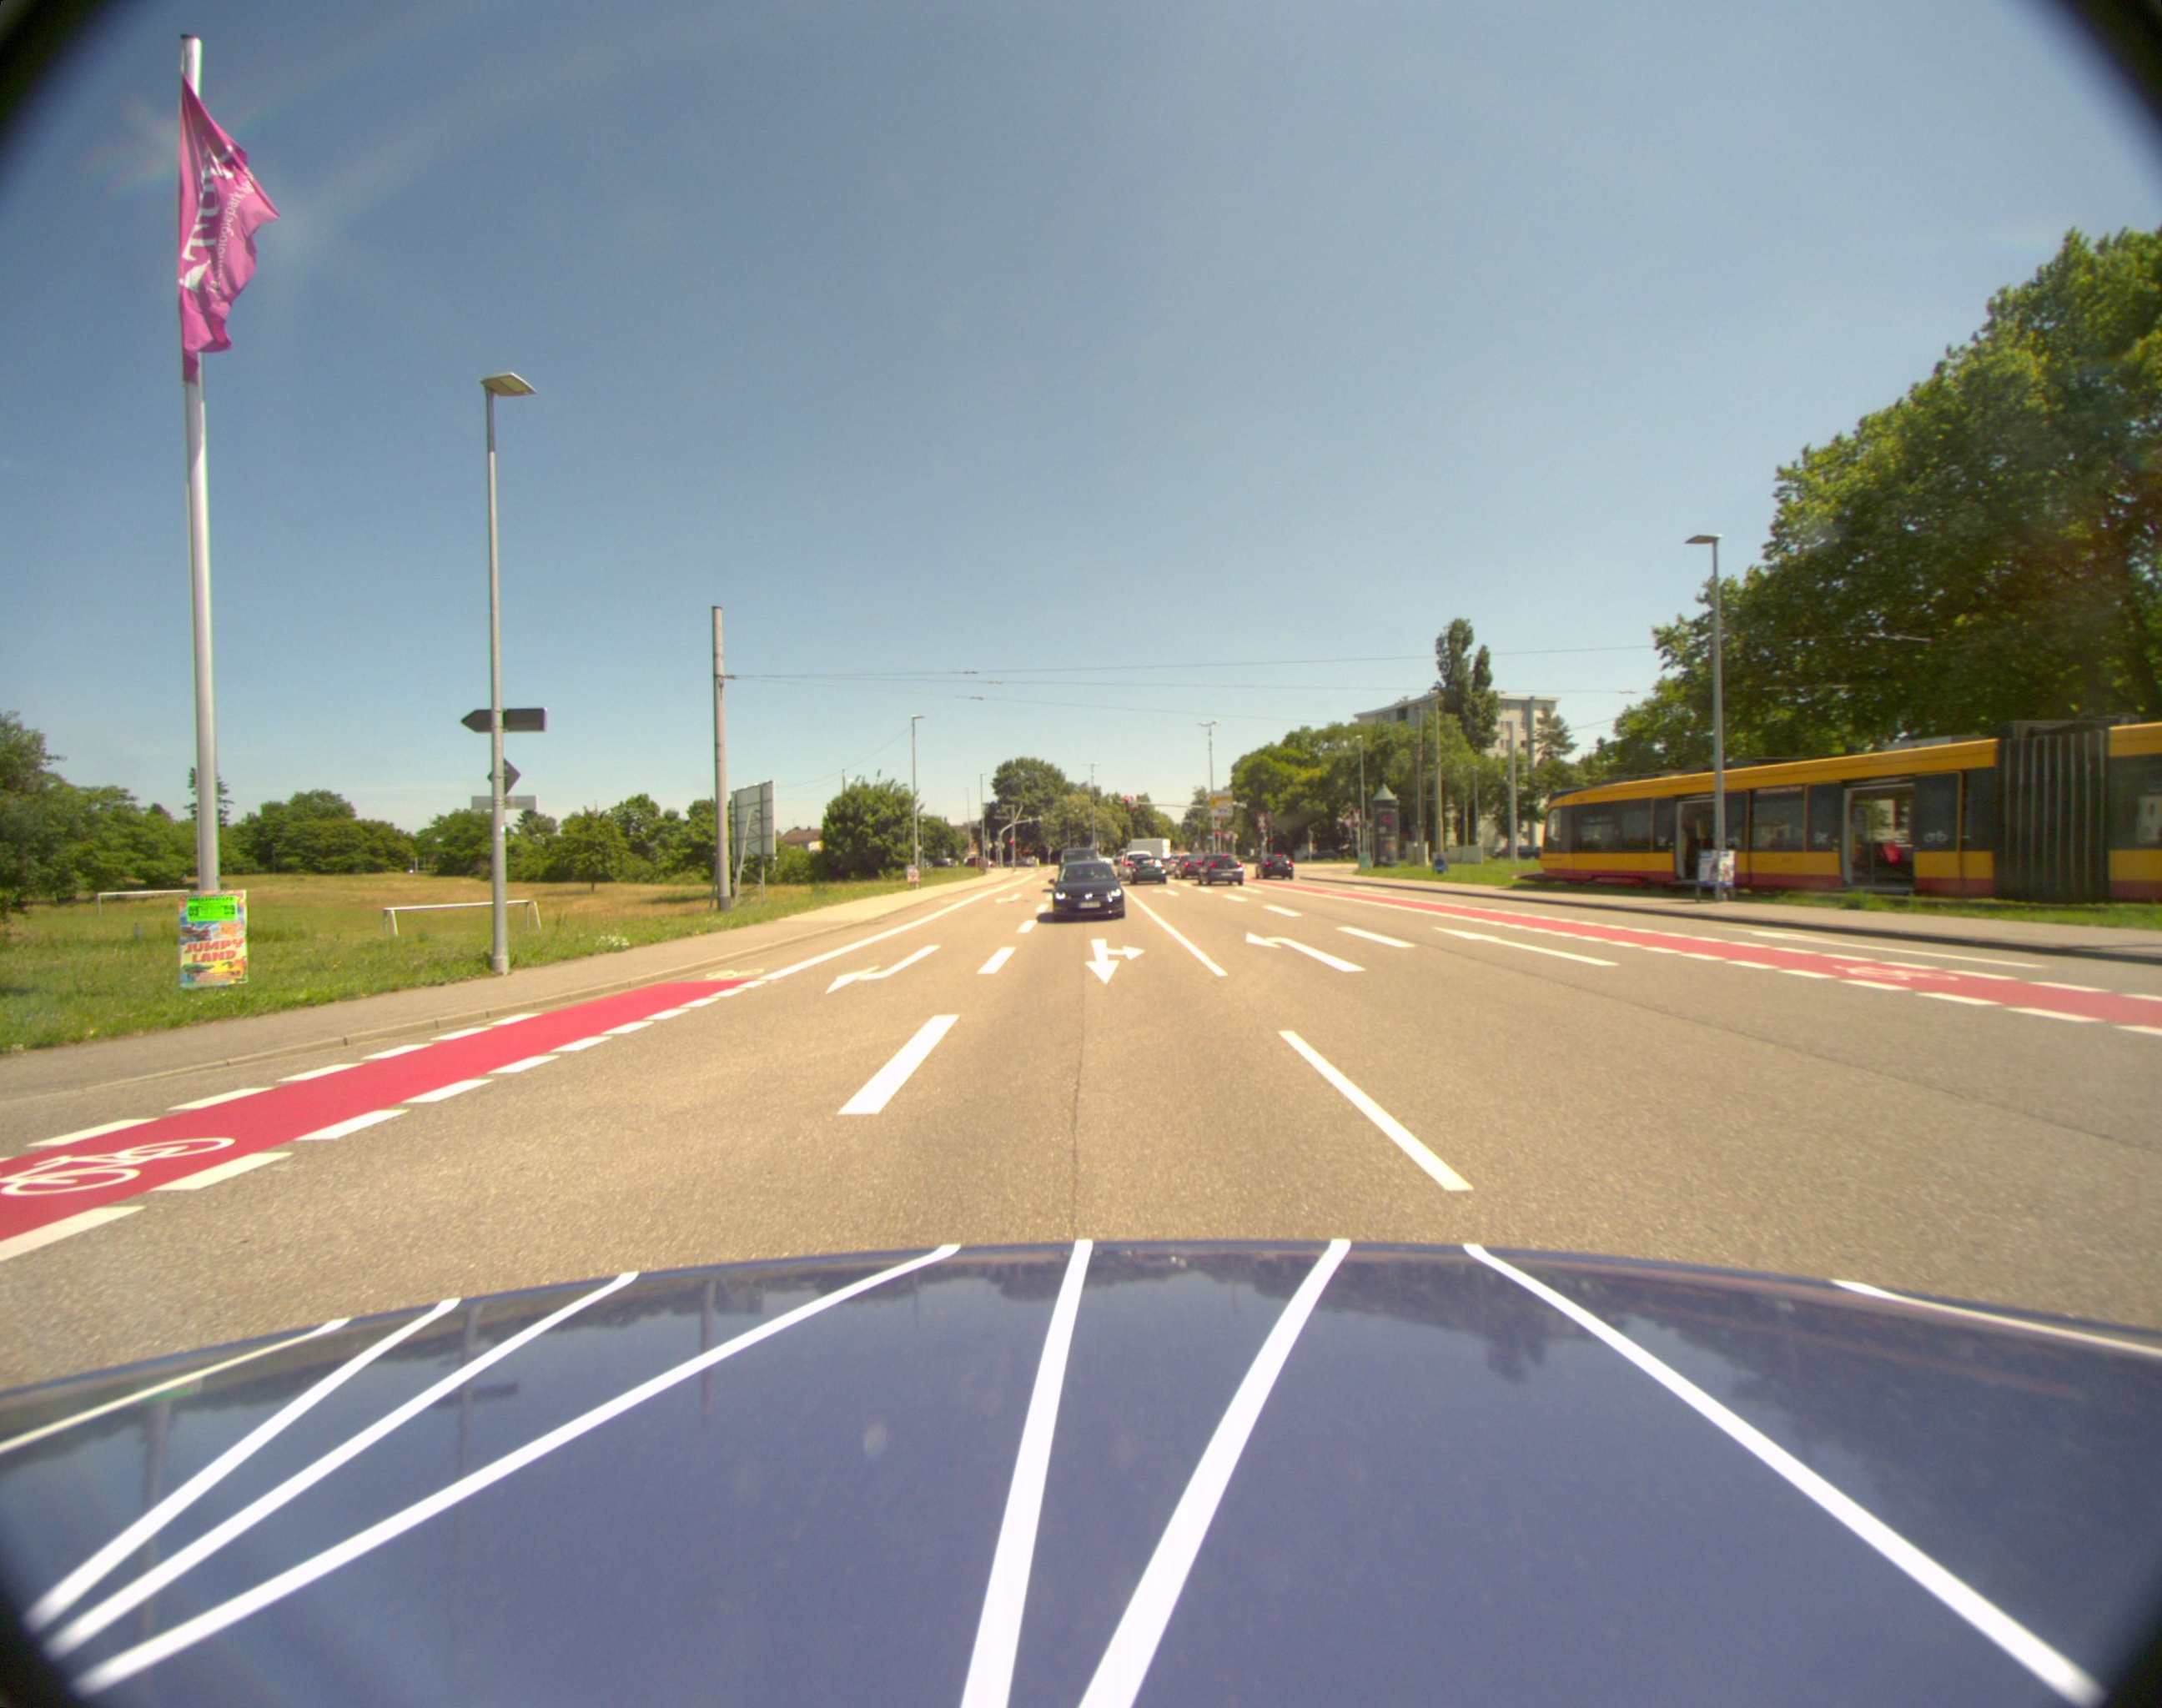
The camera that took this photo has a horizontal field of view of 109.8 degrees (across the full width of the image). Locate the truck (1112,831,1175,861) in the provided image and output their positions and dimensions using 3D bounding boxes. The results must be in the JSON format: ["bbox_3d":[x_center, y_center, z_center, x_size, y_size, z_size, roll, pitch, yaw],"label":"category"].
[{"bbox_3d":[8.082,-0.975,98.461,7.691,3.511,2.594,-1,-2,32],"label":"truck"}]

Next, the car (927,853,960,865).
[{"bbox_3d":[-19.251,0.672,106.233,4.400,1.567,1.879,-1,0,32],"label":"car"}]

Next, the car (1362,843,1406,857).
[{"bbox_3d":[31.472,-0.376,78.948,3.989,1.279,1.751,-1,-2,29],"label":"car"}]

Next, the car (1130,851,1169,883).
[{"bbox_3d":[3.456,0.630,39.024,1.727,1.454,3.990,-2,0,2],"label":"car"}]

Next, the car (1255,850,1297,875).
[{"bbox_3d":[11.377,0.499,44.595,1.747,1.397,4.443,-1,0,7],"label":"car"}]

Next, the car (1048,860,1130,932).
[{"bbox_3d":[0.282,0.941,18.805,1.708,1.396,4.054,-4,0,3],"label":"car"}]

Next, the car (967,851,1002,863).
[{"bbox_3d":[-13.086,0.452,102.859,4.400,1.567,1.879,-1,0,32],"label":"car"}]

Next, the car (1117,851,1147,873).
[{"bbox_3d":[3.535,0.529,53.421,1.772,1.429,3.960,-3,1,0],"label":"car"}]

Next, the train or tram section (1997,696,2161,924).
[{"bbox_3d":[21.107,-0.733,9.770,3.031,3.737,11.588,0,0,-31],"label":"train or tram section"}]

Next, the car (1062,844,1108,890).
[{"bbox_3d":[0.151,0.574,35.353,1.941,1.919,4.846,-2,0,-1],"label":"car"}]

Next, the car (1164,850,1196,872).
[{"bbox_3d":[6.988,0.452,54.146,1.795,1.447,4.412,-1,0,1],"label":"car"}]

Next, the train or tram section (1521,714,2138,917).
[{"bbox_3d":[17.733,-0.717,20.603,3.025,3.737,12.986,0,0,-5],"label":"train or tram section"}]

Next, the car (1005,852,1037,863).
[{"bbox_3d":[-8.546,0.530,107.737,4.203,1.416,1.853,-1,0,32],"label":"car"}]

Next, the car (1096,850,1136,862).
[{"bbox_3d":[4.147,0.219,89.816,4.400,1.381,1.879,-1,0,32],"label":"car"}]

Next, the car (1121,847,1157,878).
[{"bbox_3d":[3.463,0.469,46.330,1.816,1.713,4.831,-2,0,1],"label":"car"}]

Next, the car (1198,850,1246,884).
[{"bbox_3d":[6.504,0.572,35.329,1.626,1.447,3.501,0,1,1],"label":"car"}]

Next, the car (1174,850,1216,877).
[{"bbox_3d":[6.684,0.514,44.940,1.764,1.448,4.285,-1,0,0],"label":"car"}]

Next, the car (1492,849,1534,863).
[{"bbox_3d":[43.742,0.195,76.971,3.636,1.279,1.608,-1,-2,29],"label":"car"}]

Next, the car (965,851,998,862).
[{"bbox_3d":[-14.003,0.348,107.360,4.400,1.567,1.879,-1,0,32],"label":"car"}]

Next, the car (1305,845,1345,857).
[{"bbox_3d":[27.745,-0.332,86.494,3.989,1.279,1.891,-1,-2,29],"label":"car"}]
